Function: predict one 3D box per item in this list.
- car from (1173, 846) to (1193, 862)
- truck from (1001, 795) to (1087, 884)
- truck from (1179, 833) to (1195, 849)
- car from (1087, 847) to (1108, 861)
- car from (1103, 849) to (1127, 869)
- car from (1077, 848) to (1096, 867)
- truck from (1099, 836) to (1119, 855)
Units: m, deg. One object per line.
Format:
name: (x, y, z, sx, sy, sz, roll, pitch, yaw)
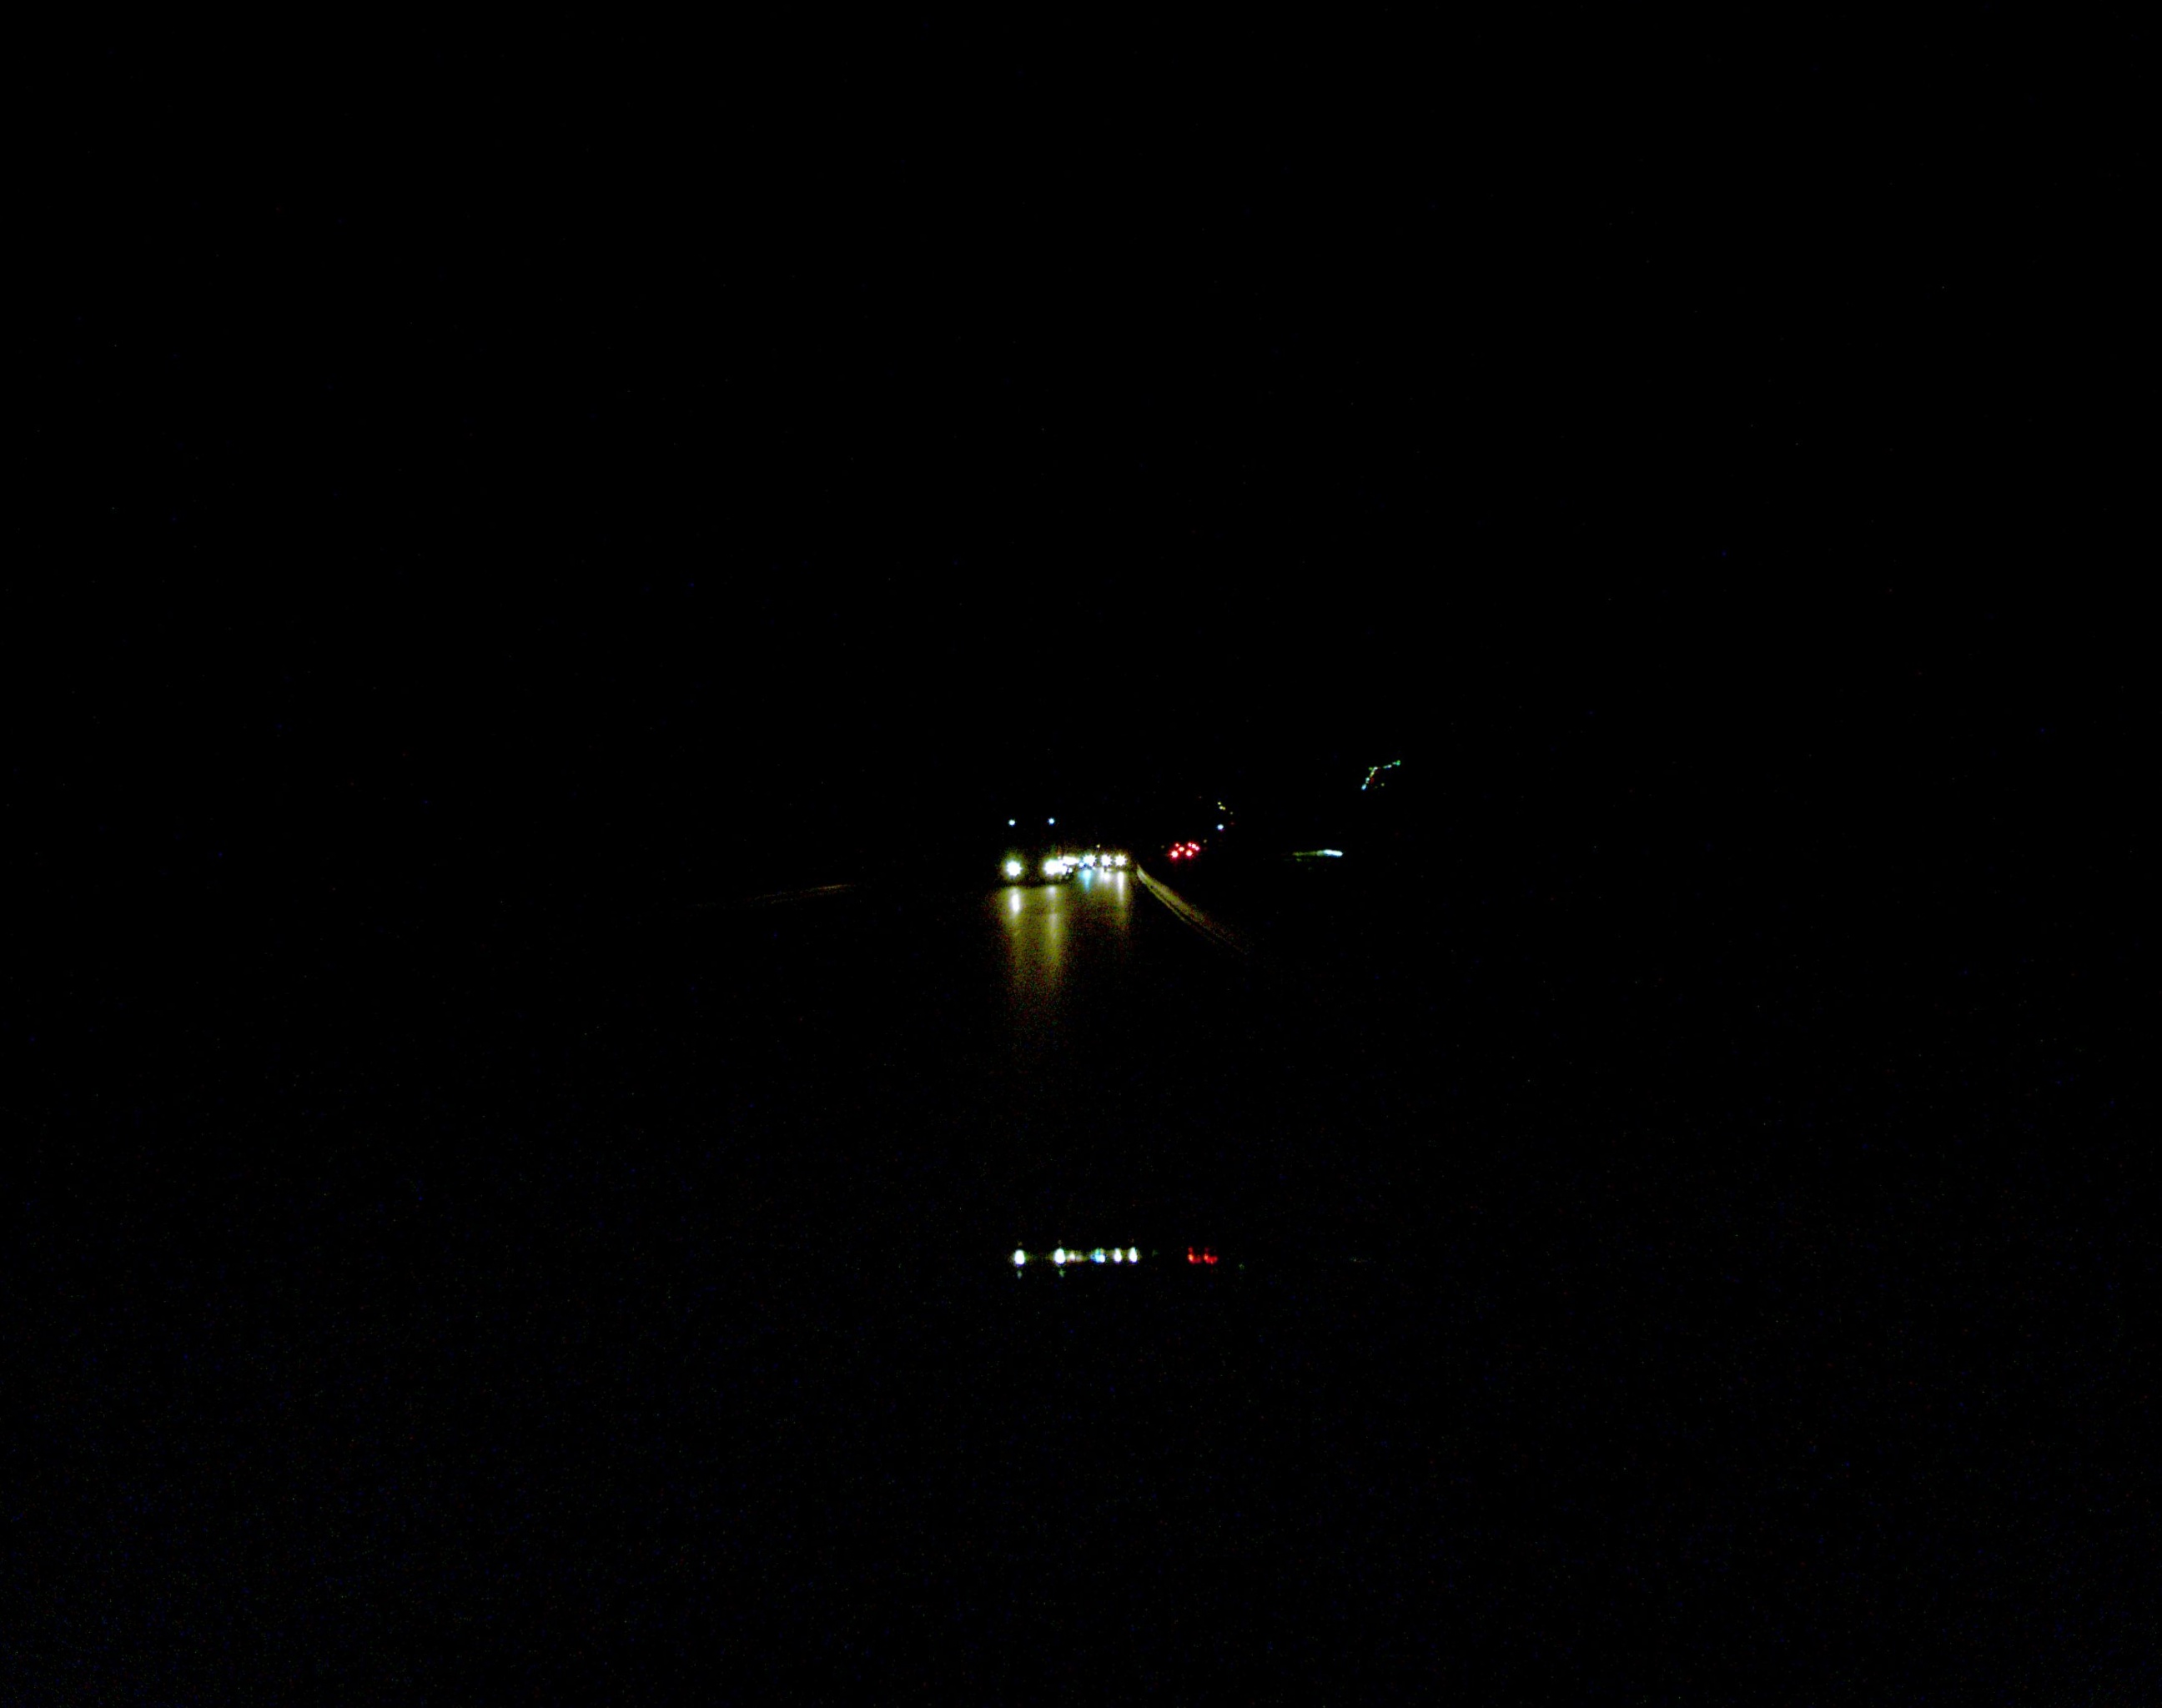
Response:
car: (10.413, 0.021, 77.910, 1.812, 1.508, 3.937, -2, -1, 6)
truck: (-1.731, -0.845, 45.618, 2.971, 4.250, 17.146, -2, 1, 4)
truck: (18.035, -2.196, 128.945, 2.305, 2.460, 6.275, -2, 2, 10)
car: (1.812, 0.008, 83.134, 1.811, 1.508, 3.938, -2, -1, 7)
car: (2.700, 0.434, 61.520, 1.812, 1.508, 3.936, -2, -1, 1)
car: (0.536, 0.304, 69.573, 1.691, 1.619, 4.723, -2, -1, 1)
truck: (3.788, -1.096, 102.012, 2.426, 2.410, 7.093, -2, 0, 4)
